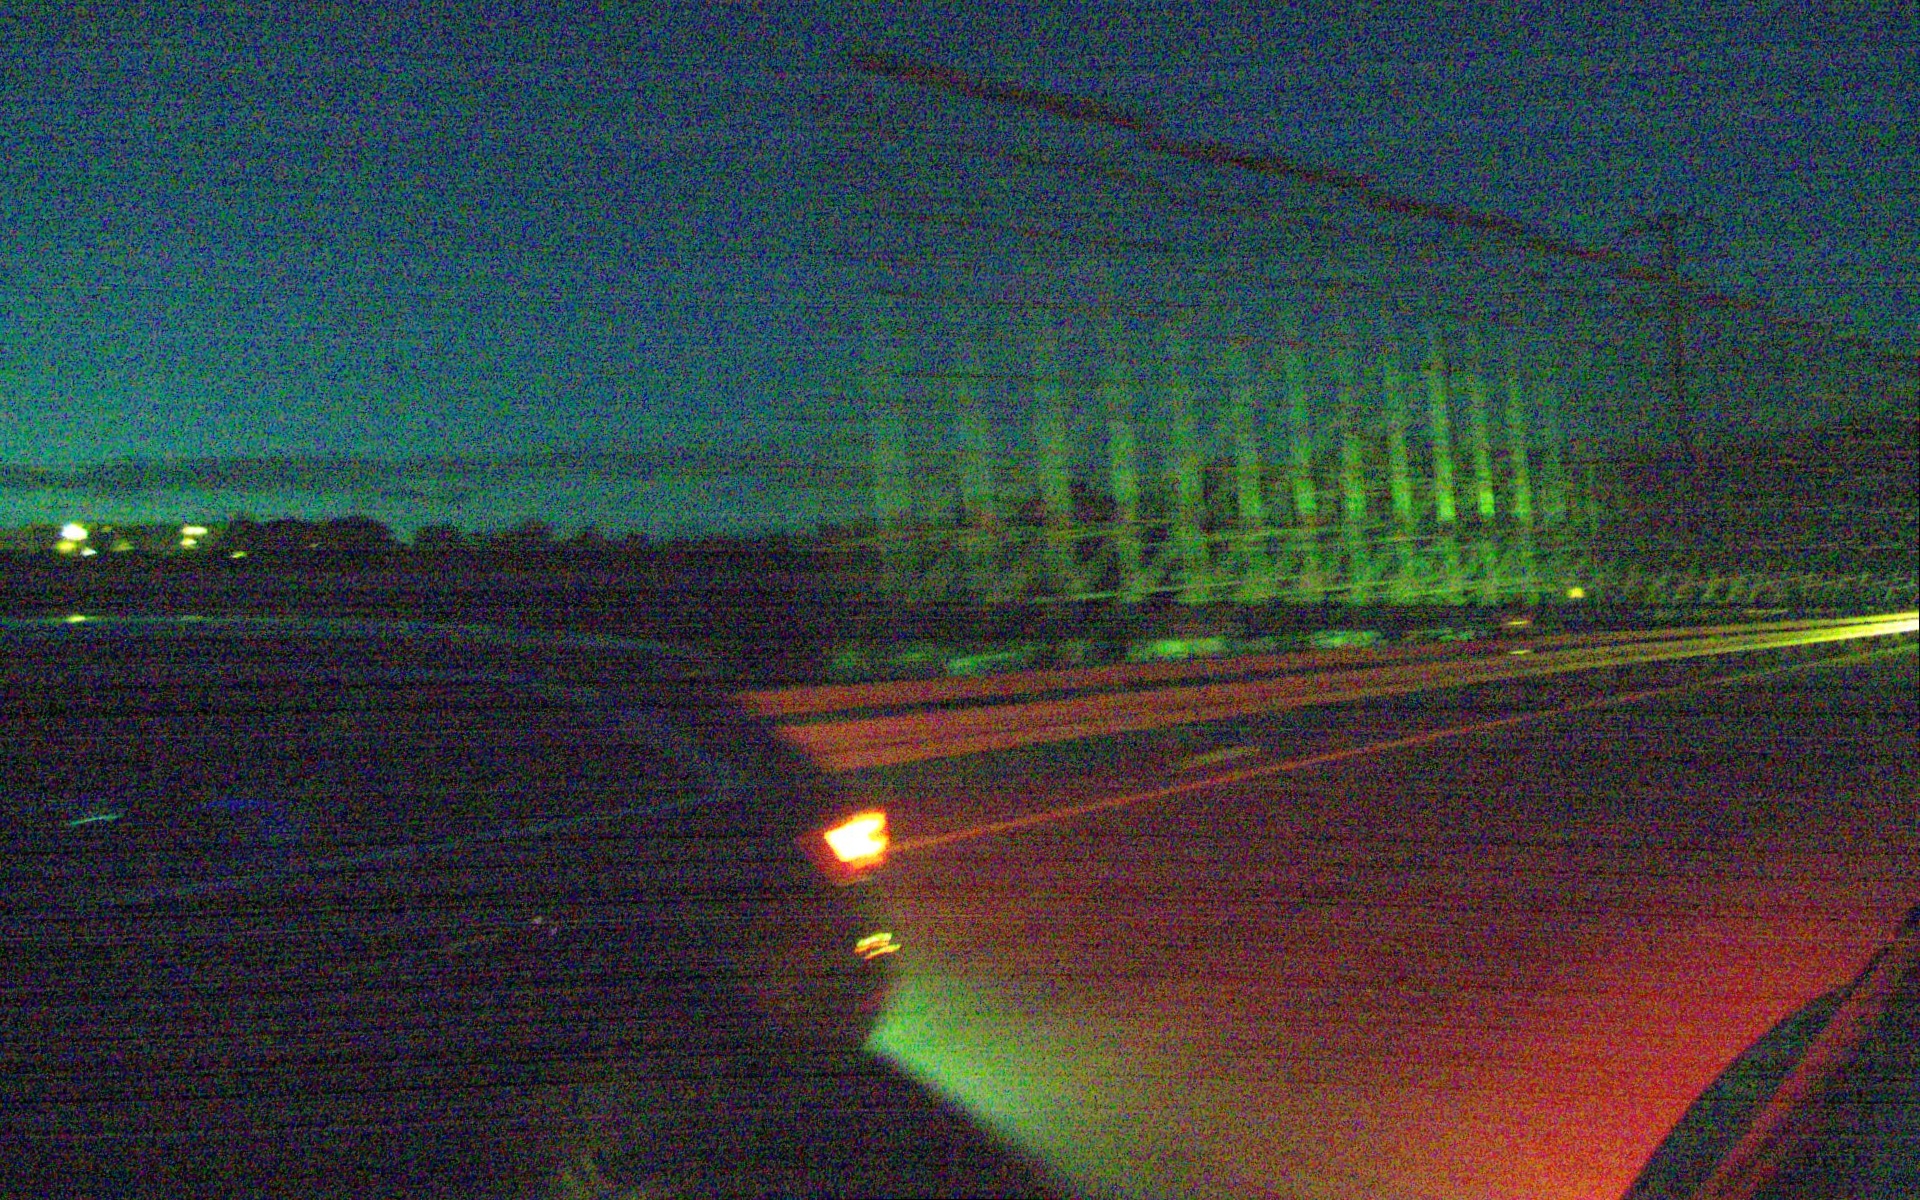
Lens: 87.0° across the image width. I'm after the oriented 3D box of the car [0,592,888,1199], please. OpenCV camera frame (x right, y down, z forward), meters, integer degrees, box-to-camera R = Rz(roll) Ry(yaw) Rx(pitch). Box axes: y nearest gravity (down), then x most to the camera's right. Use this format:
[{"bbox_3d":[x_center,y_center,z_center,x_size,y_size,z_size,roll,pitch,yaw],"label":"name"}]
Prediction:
[{"bbox_3d":[-2.575,0.726,1.494,4.788,1.444,1.812,0,1,-40],"label":"car"}]
